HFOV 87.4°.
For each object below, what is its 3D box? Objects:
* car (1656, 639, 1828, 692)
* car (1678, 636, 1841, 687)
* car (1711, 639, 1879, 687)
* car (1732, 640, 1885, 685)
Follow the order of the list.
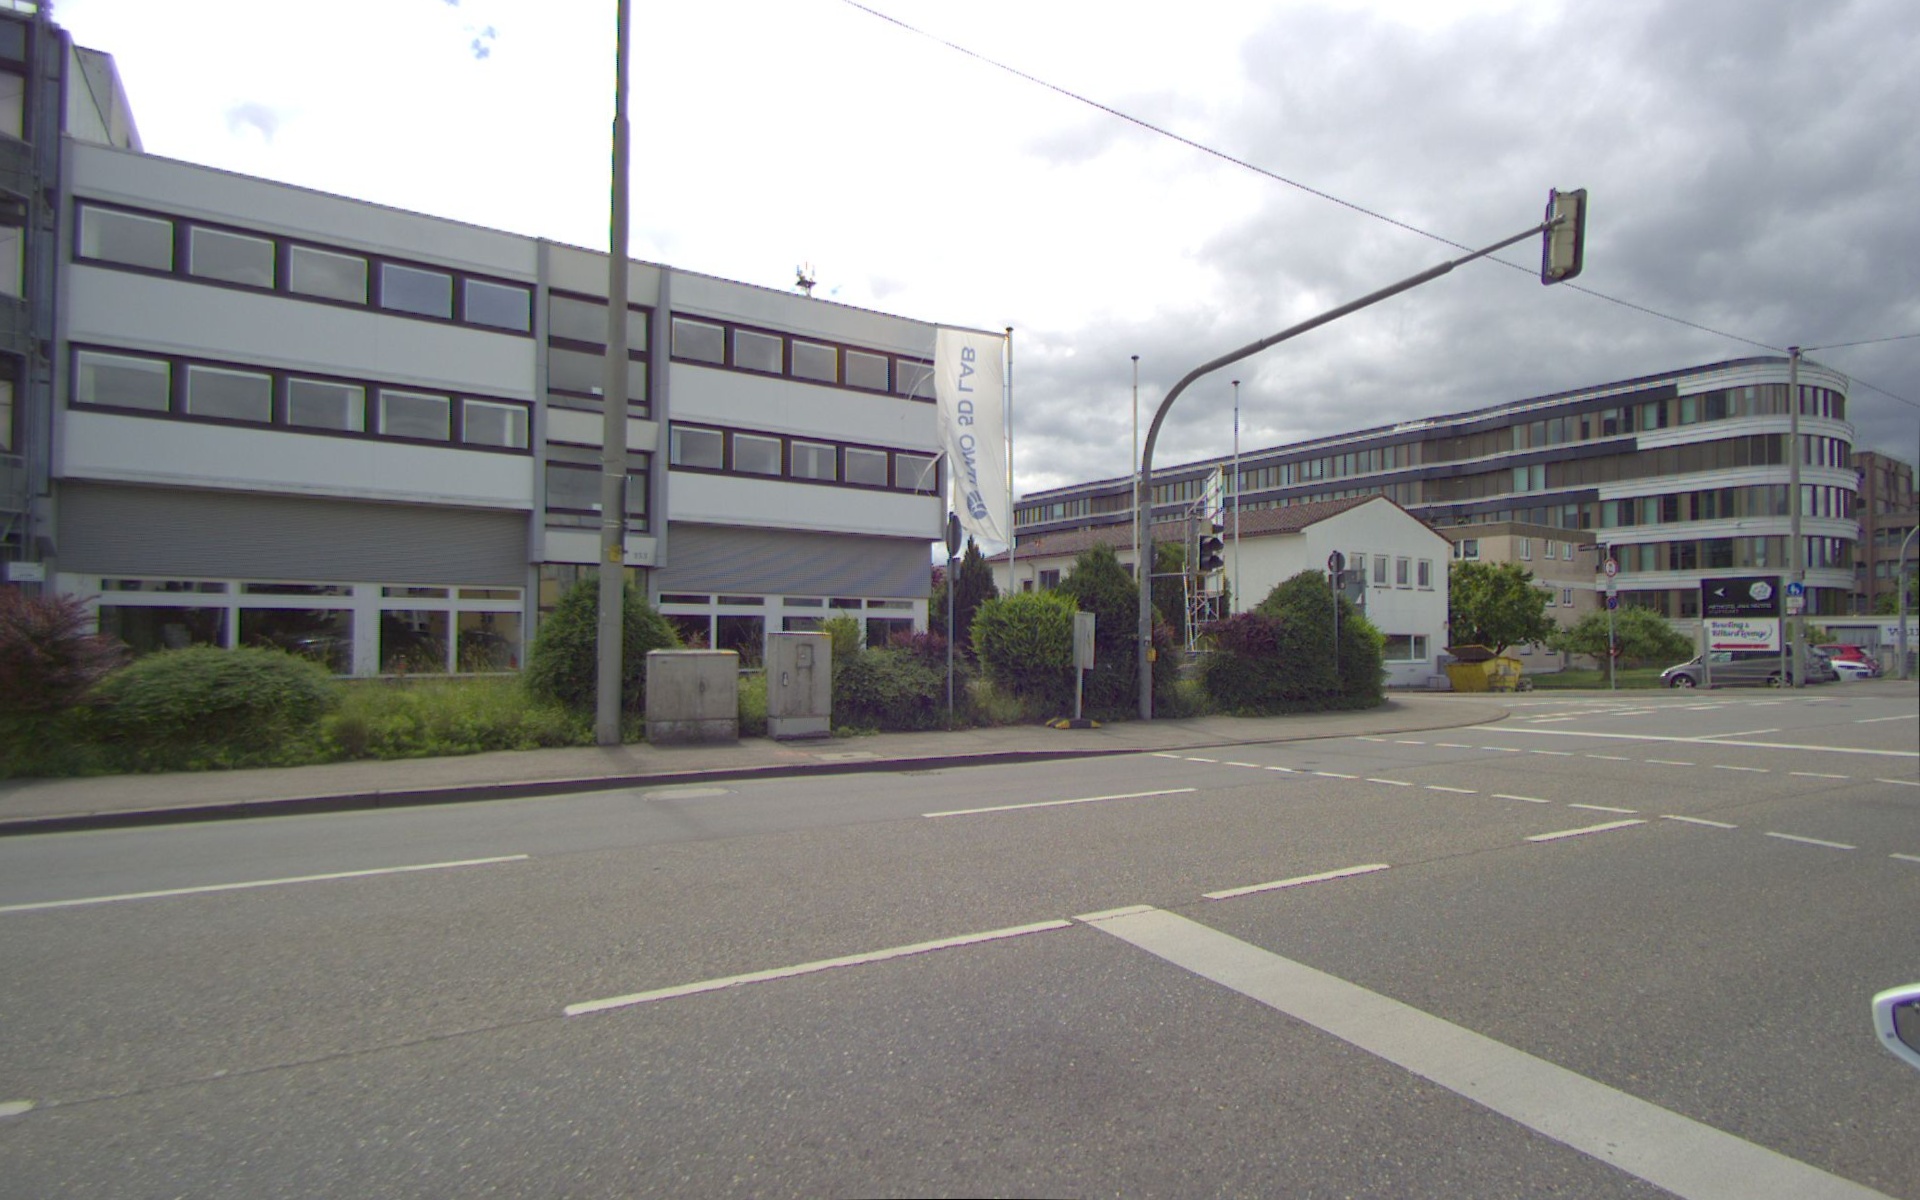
[{"bbox_3d":[25.810,2.200,33.282,1.890,1.415,4.067,1,-8,-37],"label":"car"},{"bbox_3d":[27.733,2.188,34.971,1.835,1.442,3.970,2,-8,-32],"label":"car"},{"bbox_3d":[29.876,2.304,36.057,1.965,1.404,4.199,3,-9,-35],"label":"car"},{"bbox_3d":[31.904,2.405,37.878,1.828,1.386,3.970,2,-8,-32],"label":"car"}]
